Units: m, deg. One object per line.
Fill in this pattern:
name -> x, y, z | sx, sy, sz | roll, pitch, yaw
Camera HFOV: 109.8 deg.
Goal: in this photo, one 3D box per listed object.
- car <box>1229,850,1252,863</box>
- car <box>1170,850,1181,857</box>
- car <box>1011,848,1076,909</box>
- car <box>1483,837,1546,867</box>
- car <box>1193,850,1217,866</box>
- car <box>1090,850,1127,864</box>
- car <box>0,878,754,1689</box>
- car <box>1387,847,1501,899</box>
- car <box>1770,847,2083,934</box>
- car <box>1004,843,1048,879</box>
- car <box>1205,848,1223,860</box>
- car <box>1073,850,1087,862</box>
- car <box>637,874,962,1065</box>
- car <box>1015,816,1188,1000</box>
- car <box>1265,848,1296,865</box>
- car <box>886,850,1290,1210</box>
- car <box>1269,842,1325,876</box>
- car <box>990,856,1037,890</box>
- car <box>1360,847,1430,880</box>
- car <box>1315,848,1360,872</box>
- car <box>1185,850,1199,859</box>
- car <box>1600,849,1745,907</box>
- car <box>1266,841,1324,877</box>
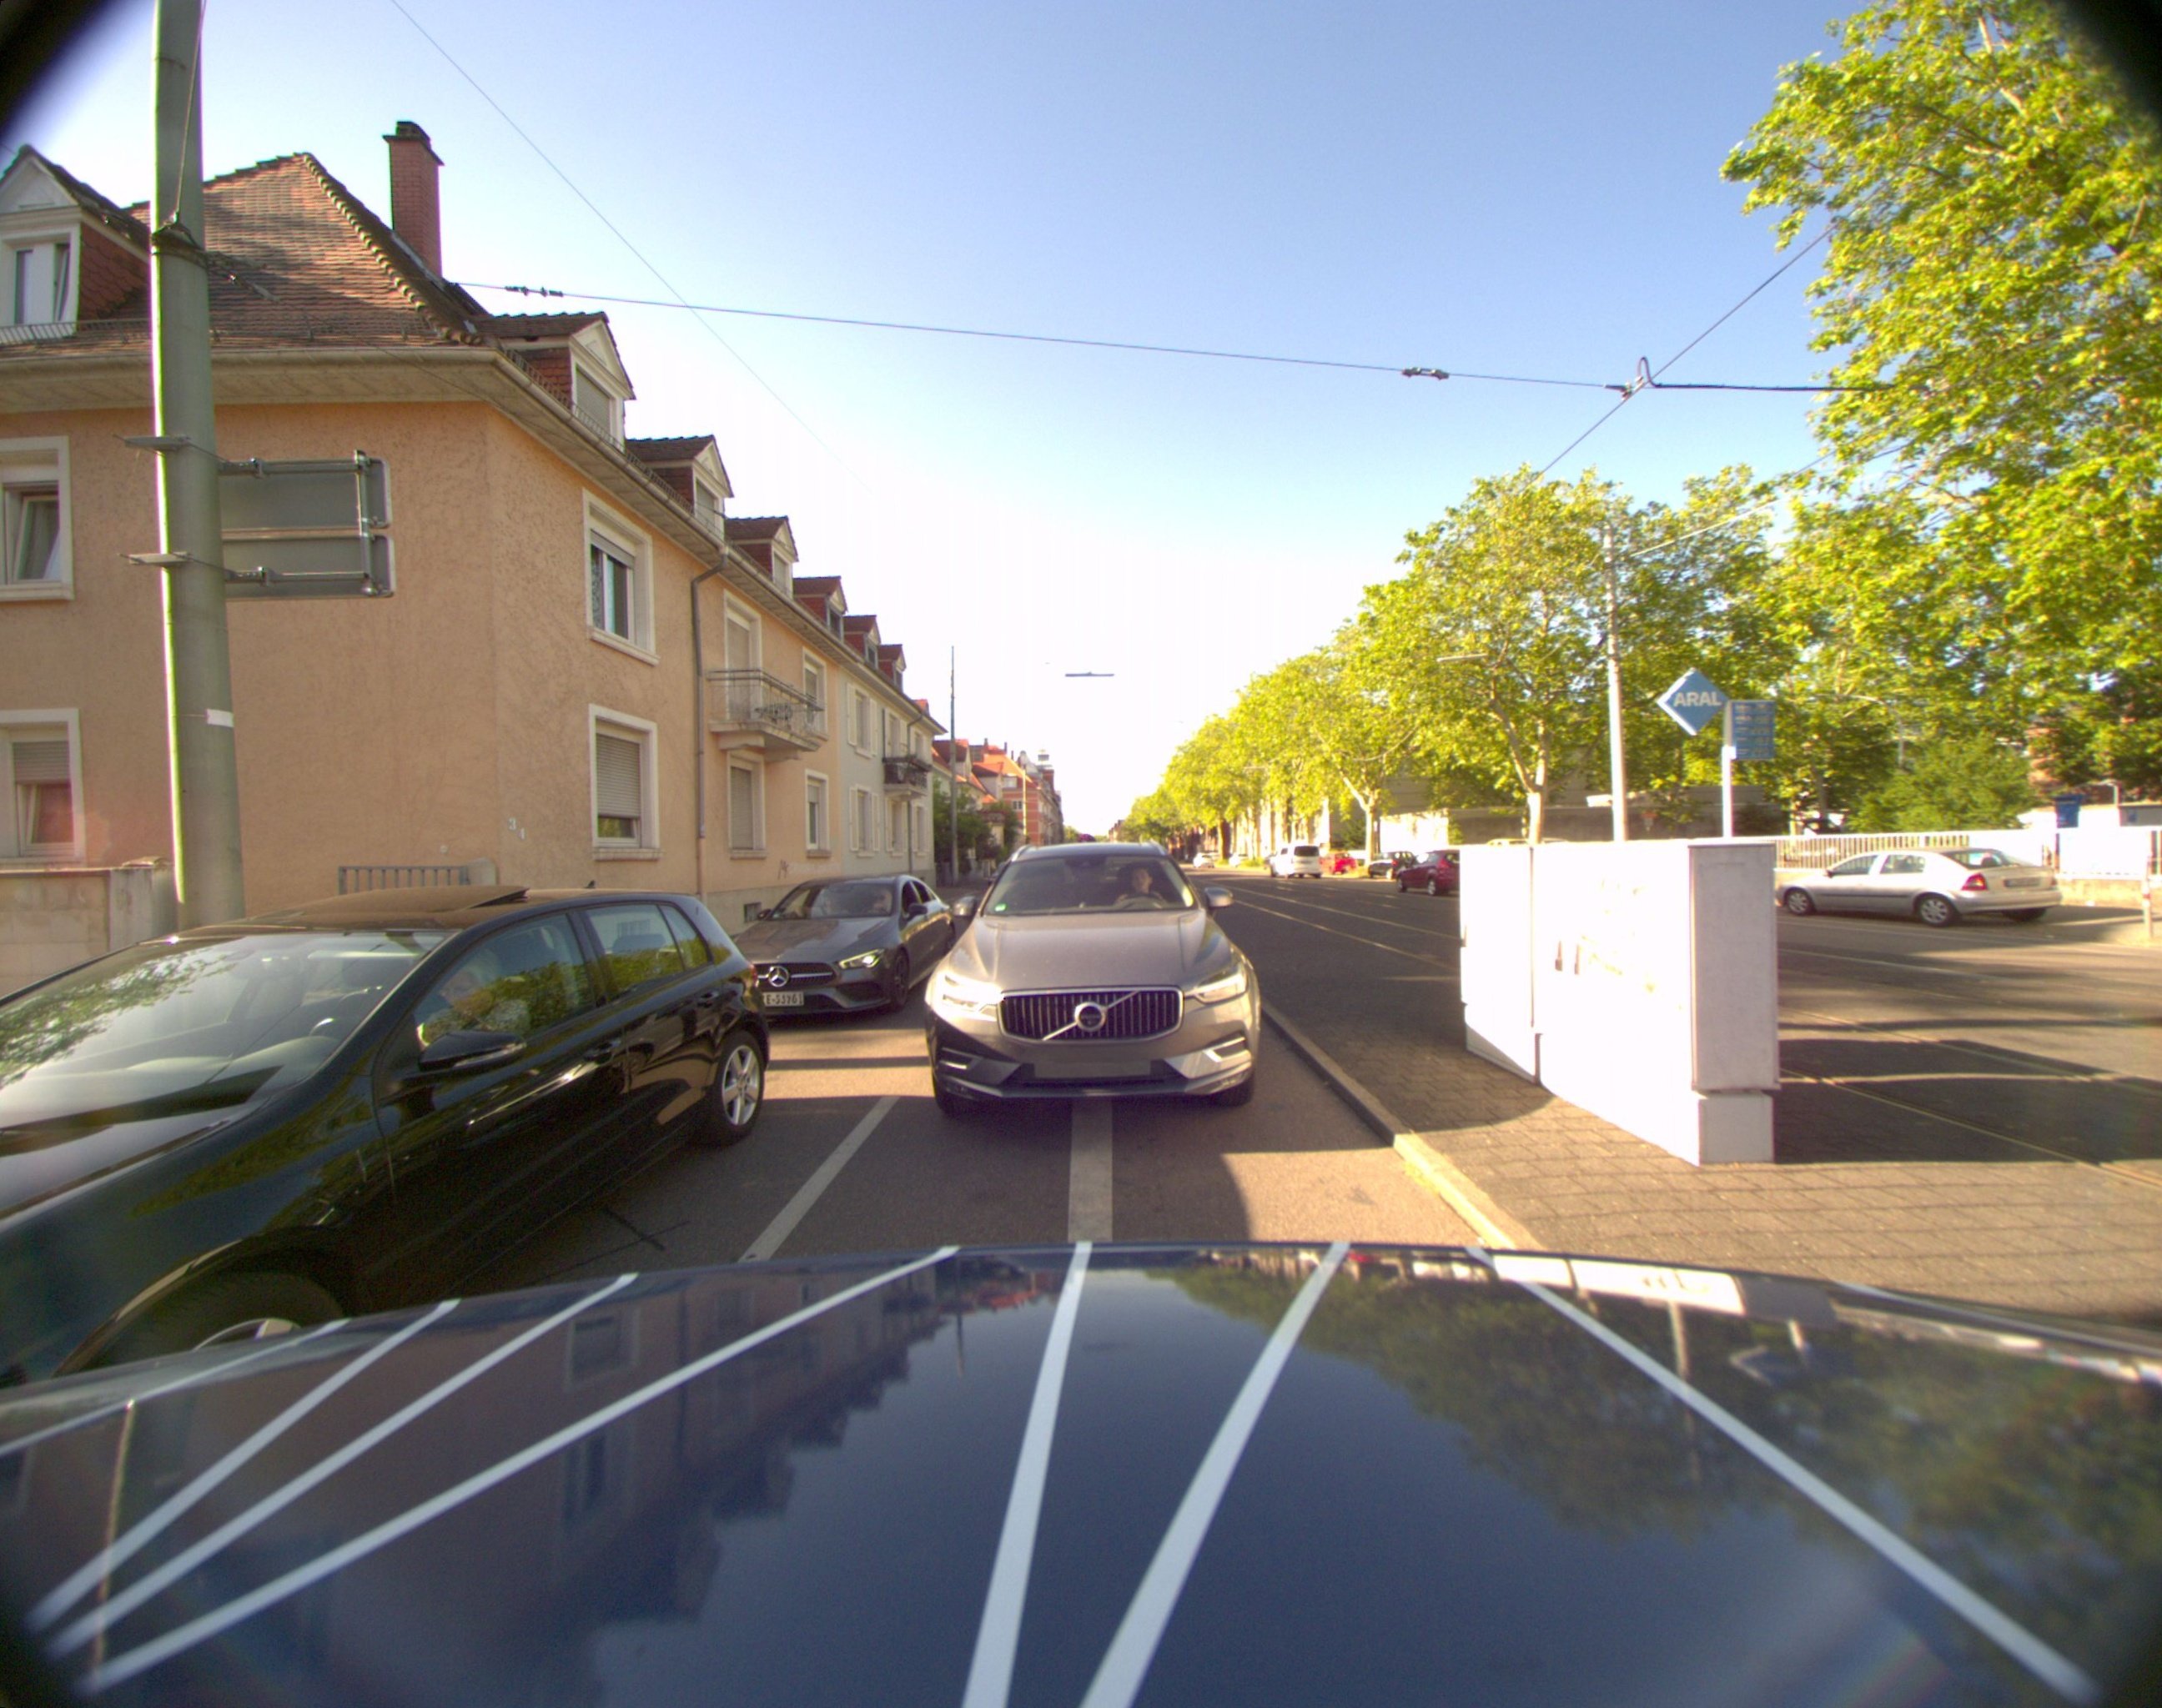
car -> 17.518, 0.241, 83.520 | 1.700, 1.401, 3.999 | -1, 1, 1
car -> 18.589, -0.088, 149.563 | 1.700, 1.401, 3.999 | -1, 1, 1
car -> -1.173, 0.753, 26.045 | 1.866, 1.794, 4.778 | -2, 1, 1
car -> 21.781, -0.120, 38.283 | 1.545, 1.412, 3.151 | -2, 1, 4
car -> 12.670, 0.382, 77.688 | 1.764, 1.487, 3.999 | -2, 1, 1
car -> 3.141, 0.336, 88.611 | 3.989, 1.449, 1.846 | -2, 1, 41
car -> -2.915, 0.884, 2.624 | 1.733, 1.499, 4.051 | -2, -1, 1
car -> 11.536, 0.553, 24.470 | 1.700, 1.412, 3.999 | 4, 1, 1
car -> 16.240, 0.602, 14.960 | 1.731, 1.412, 3.999 | -2, 1, 1
car -> -3.153, 0.355, 44.985 | 1.937, 1.888, 7.210 | -2, 1, 1
car -> 17.665, -0.002, 100.781 | 1.700, 1.548, 3.999 | -1, 1, 1
car -> -0.158, 0.261, 106.486 | 1.841, 1.449, 3.999 | -2, 1, 1
car -> -2.784, 1.058, 8.796 | 1.911, 1.411, 4.492 | -2, 1, 2
car -> 0.241, 0.594, 11.121 | 1.912, 2.048, 4.763 | -2, 1, 0
car -> 17.287, 0.219, 65.912 | 1.700, 1.401, 3.999 | -1, 1, 1
car -> 0.042, 0.851, 6.097 | 1.912, 1.666, 4.763 | -2, 1, 0
car -> 12.131, 0.236, 42.909 | 1.850, 1.835, 4.394 | -1, 1, -1
car -> -3.241, 0.891, 37.097 | 1.841, 1.449, 3.999 | -2, 1, 1
car -> 16.936, 0.472, 41.219 | 1.753, 1.514, 4.434 | -5, 1, -1
car -> 16.928, 0.370, 50.343 | 1.700, 1.460, 3.999 | -1, 1, 1
car -> 18.333, 0.011, 125.558 | 1.700, 1.401, 3.999 | -1, 1, 1
car -> 16.372, 0.603, 21.230 | 1.546, 1.412, 3.254 | -2, 1, 1
car -> 12.074, 0.331, 43.206 | 1.887, 1.863, 5.115 | -2, -1, 1
